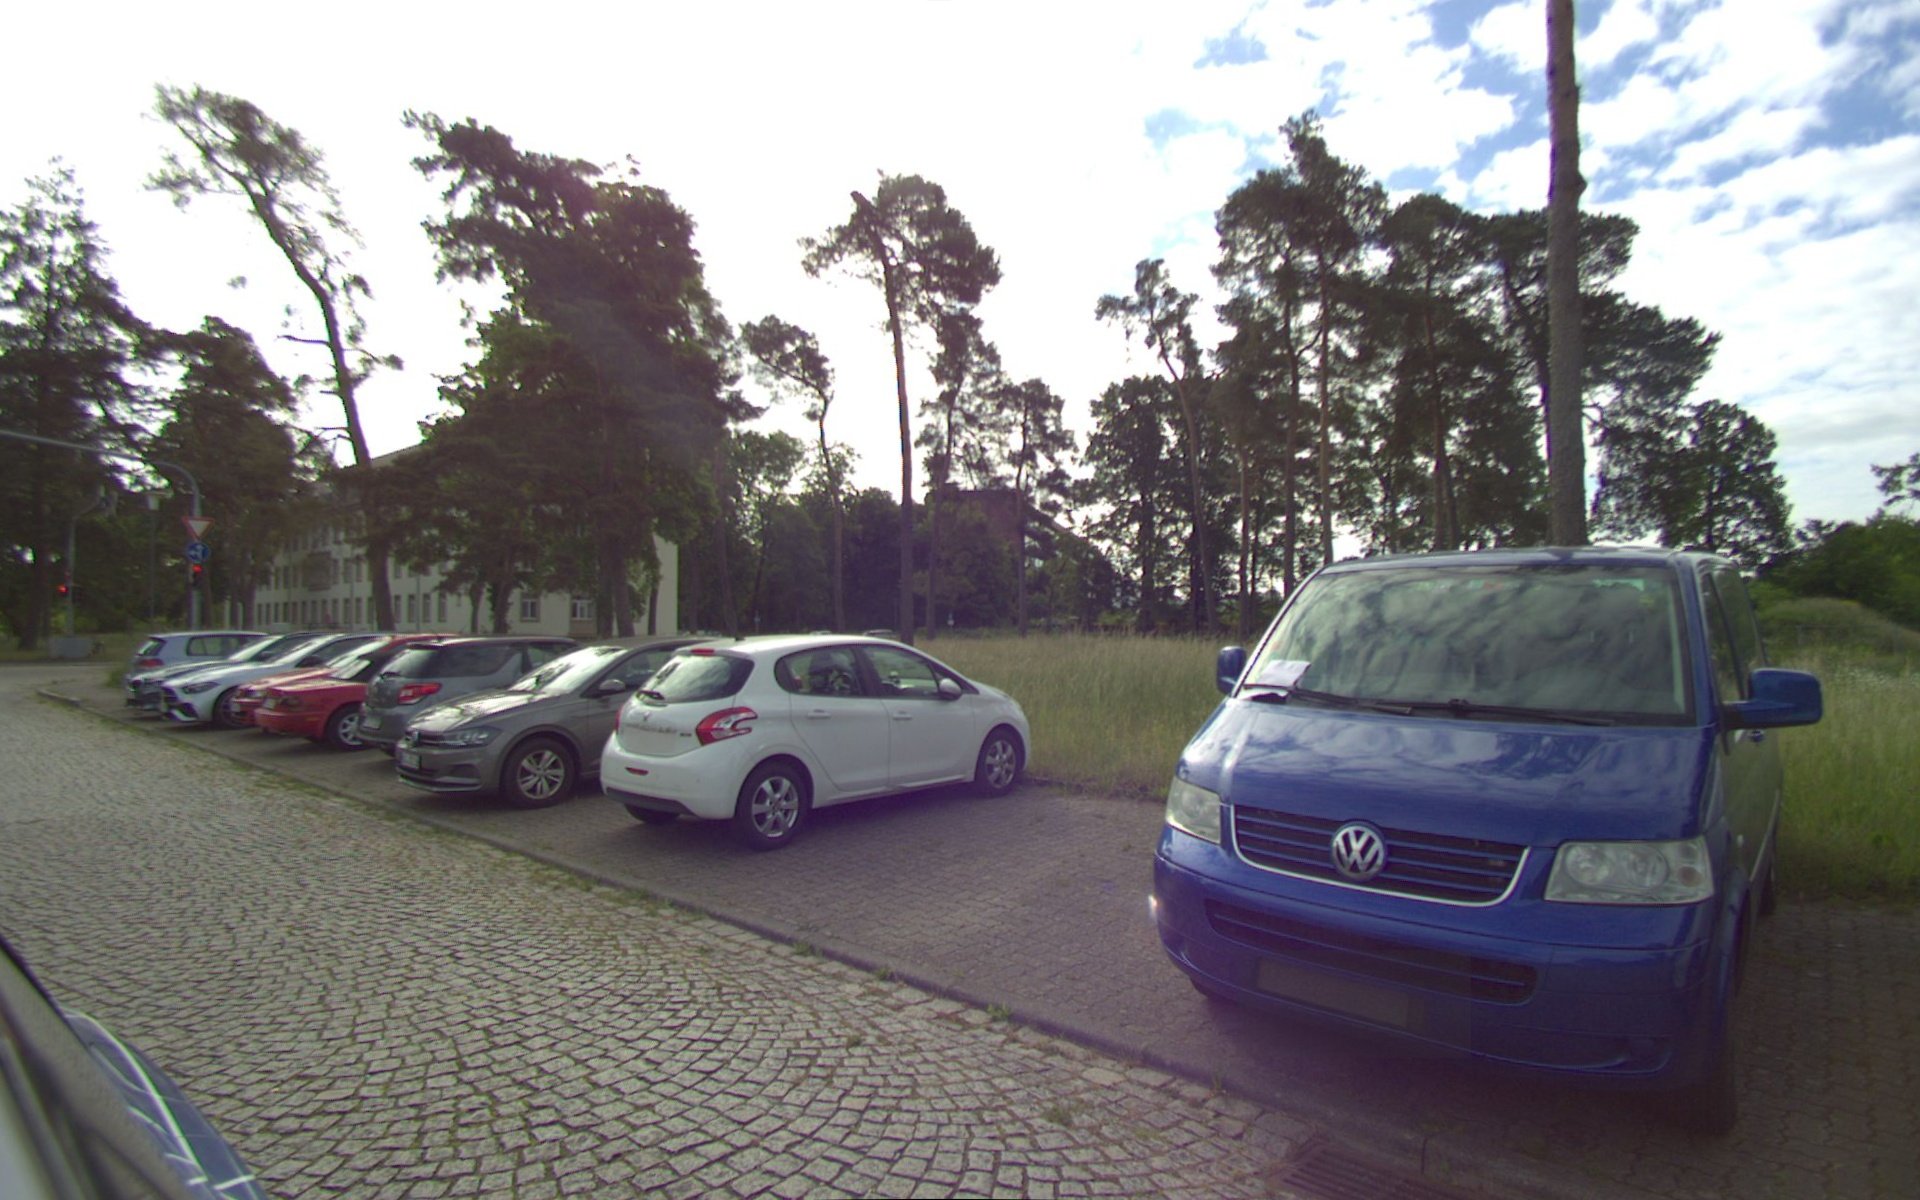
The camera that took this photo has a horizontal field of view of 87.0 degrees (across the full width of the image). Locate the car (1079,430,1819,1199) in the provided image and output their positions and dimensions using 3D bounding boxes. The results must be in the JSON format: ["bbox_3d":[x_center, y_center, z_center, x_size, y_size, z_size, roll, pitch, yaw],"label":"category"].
[{"bbox_3d":[2.731,0.652,4.841,2.037,1.996,4.661,-2,-2,41],"label":"car"}]

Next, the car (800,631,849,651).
[{"bbox_3d":[-11.786,3.538,88.395,1.718,1.622,3.998,0,-1,45],"label":"car"}]

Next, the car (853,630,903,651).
[{"bbox_3d":[-6.714,3.327,82.952,1.717,1.622,4.000,0,-1,43],"label":"car"}]

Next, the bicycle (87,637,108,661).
[{"bbox_3d":[-40.191,2.282,47.157,1.415,1.082,0.491,-1,0,39],"label":"bicycle"}]

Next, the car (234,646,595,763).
[{"bbox_3d":[-7.411,1.329,14.071,1.763,1.293,4.087,-2,-2,41],"label":"car"}]

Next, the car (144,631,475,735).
[{"bbox_3d":[-10.900,1.295,17.210,1.949,1.466,4.389,-1,-1,42],"label":"car"}]

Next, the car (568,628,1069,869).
[{"bbox_3d":[-1.004,1.019,8.605,1.843,1.513,3.961,-2,-2,43],"label":"car"}]

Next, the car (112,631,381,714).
[{"bbox_3d":[-14.661,1.409,20.975,1.827,1.481,4.282,-1,-1,42],"label":"car"}]

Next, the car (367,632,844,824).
[{"bbox_3d":[-3.366,1.093,10.254,1.731,1.492,4.257,-2,-2,43],"label":"car"}]

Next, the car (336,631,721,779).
[{"bbox_3d":[-5.184,1.150,12.552,1.755,1.492,4.044,-2,-2,42],"label":"car"}]

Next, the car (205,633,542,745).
[{"bbox_3d":[-9.023,1.280,15.849,1.854,1.466,4.209,-2,-2,41],"label":"car"}]

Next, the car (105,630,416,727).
[{"bbox_3d":[-12.927,1.355,18.969,1.868,1.549,4.458,-1,-1,38],"label":"car"}]
